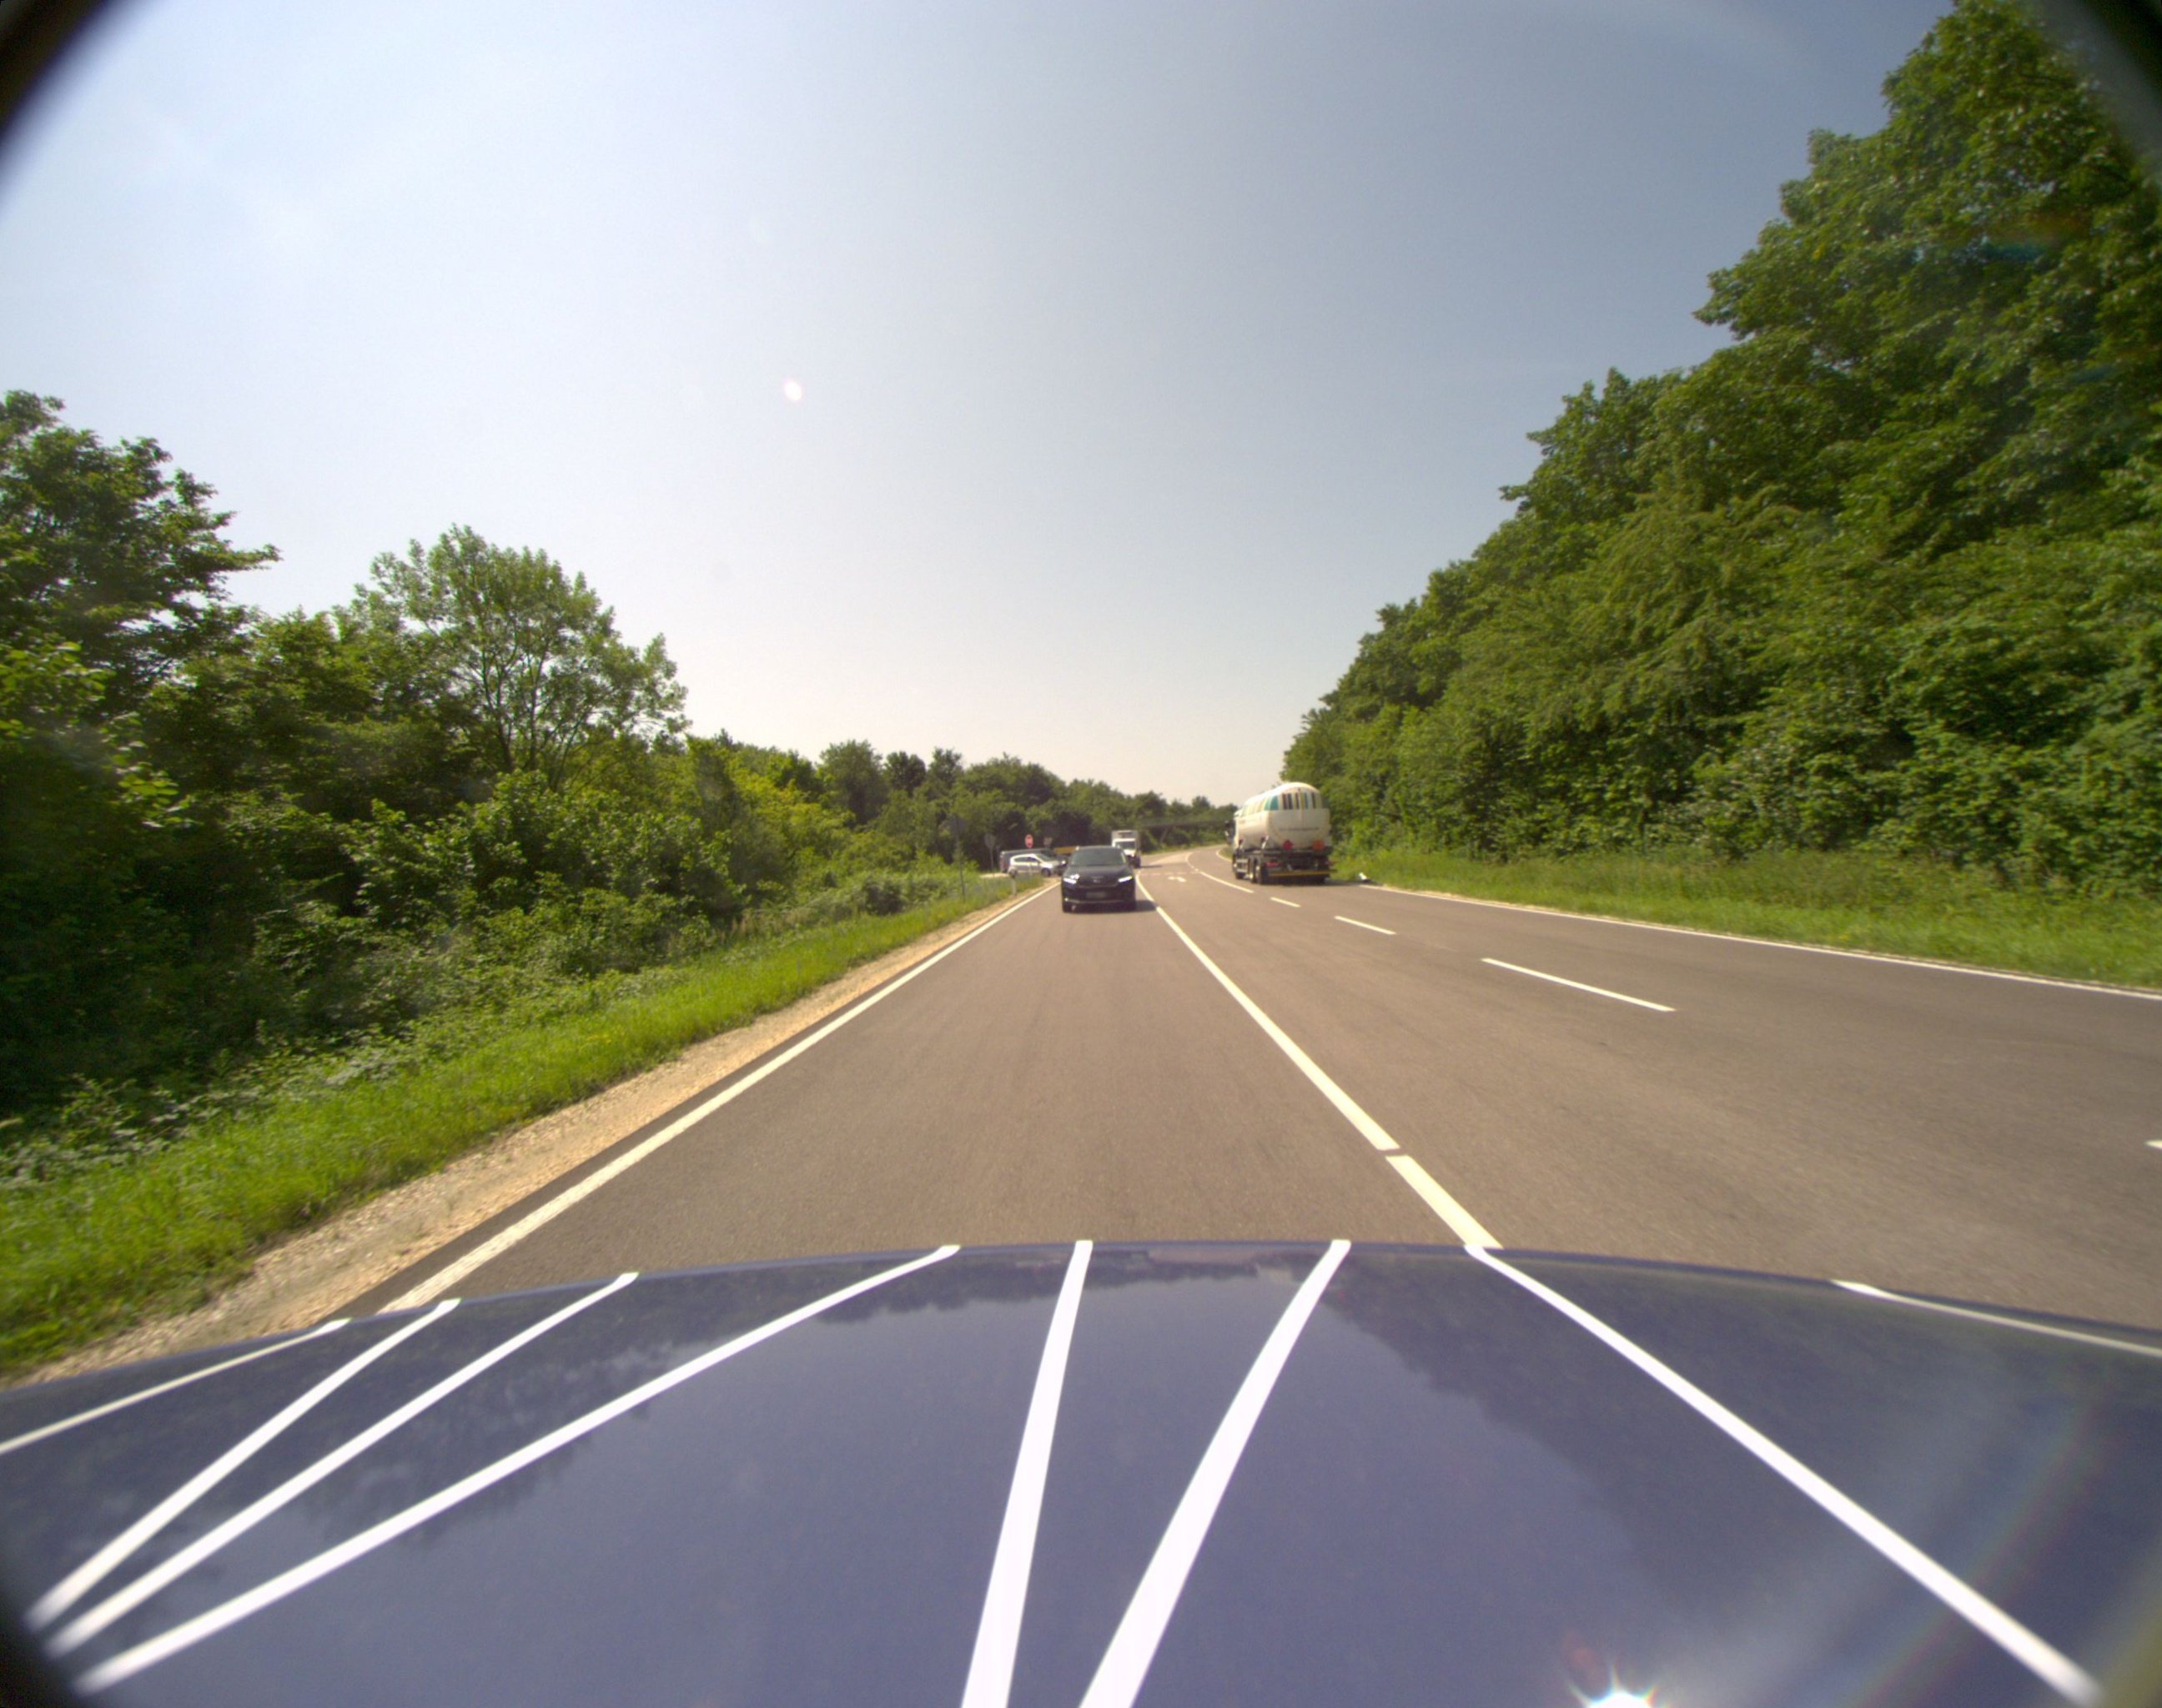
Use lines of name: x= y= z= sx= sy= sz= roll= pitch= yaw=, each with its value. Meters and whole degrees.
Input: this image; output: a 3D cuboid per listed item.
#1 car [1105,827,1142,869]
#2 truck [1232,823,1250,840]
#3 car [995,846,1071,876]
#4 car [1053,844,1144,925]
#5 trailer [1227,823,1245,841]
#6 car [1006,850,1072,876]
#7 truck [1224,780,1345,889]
car: x=3.447 y=-0.528 z=59.597 sx=2.591 sy=3.047 sz=6.882 roll=-2 pitch=1 yaw=5
truck: x=40.638 y=-5.633 z=192.220 sx=2.801 sy=4.072 sz=11.076 roll=-2 pitch=1 yaw=20
car: x=-3.552 y=0.463 z=55.883 sx=5.231 sy=1.896 sz=2.011 roll=-3 pitch=2 yaw=-12
car: x=0.516 y=0.668 z=19.475 sx=1.924 sy=1.711 sz=5.479 roll=-2 pitch=0 yaw=3
trailer: x=37.575 y=-5.349 z=183.814 sx=2.831 sy=4.072 sz=9.012 roll=-2 pitch=1 yaw=20
car: x=-2.768 y=0.590 z=49.738 sx=3.983 sy=1.570 sz=1.849 roll=-2 pitch=-1 yaw=31
truck: x=7.778 y=-0.726 z=30.419 sx=2.633 sy=3.650 sz=8.796 roll=-2 pitch=1 yaw=2
